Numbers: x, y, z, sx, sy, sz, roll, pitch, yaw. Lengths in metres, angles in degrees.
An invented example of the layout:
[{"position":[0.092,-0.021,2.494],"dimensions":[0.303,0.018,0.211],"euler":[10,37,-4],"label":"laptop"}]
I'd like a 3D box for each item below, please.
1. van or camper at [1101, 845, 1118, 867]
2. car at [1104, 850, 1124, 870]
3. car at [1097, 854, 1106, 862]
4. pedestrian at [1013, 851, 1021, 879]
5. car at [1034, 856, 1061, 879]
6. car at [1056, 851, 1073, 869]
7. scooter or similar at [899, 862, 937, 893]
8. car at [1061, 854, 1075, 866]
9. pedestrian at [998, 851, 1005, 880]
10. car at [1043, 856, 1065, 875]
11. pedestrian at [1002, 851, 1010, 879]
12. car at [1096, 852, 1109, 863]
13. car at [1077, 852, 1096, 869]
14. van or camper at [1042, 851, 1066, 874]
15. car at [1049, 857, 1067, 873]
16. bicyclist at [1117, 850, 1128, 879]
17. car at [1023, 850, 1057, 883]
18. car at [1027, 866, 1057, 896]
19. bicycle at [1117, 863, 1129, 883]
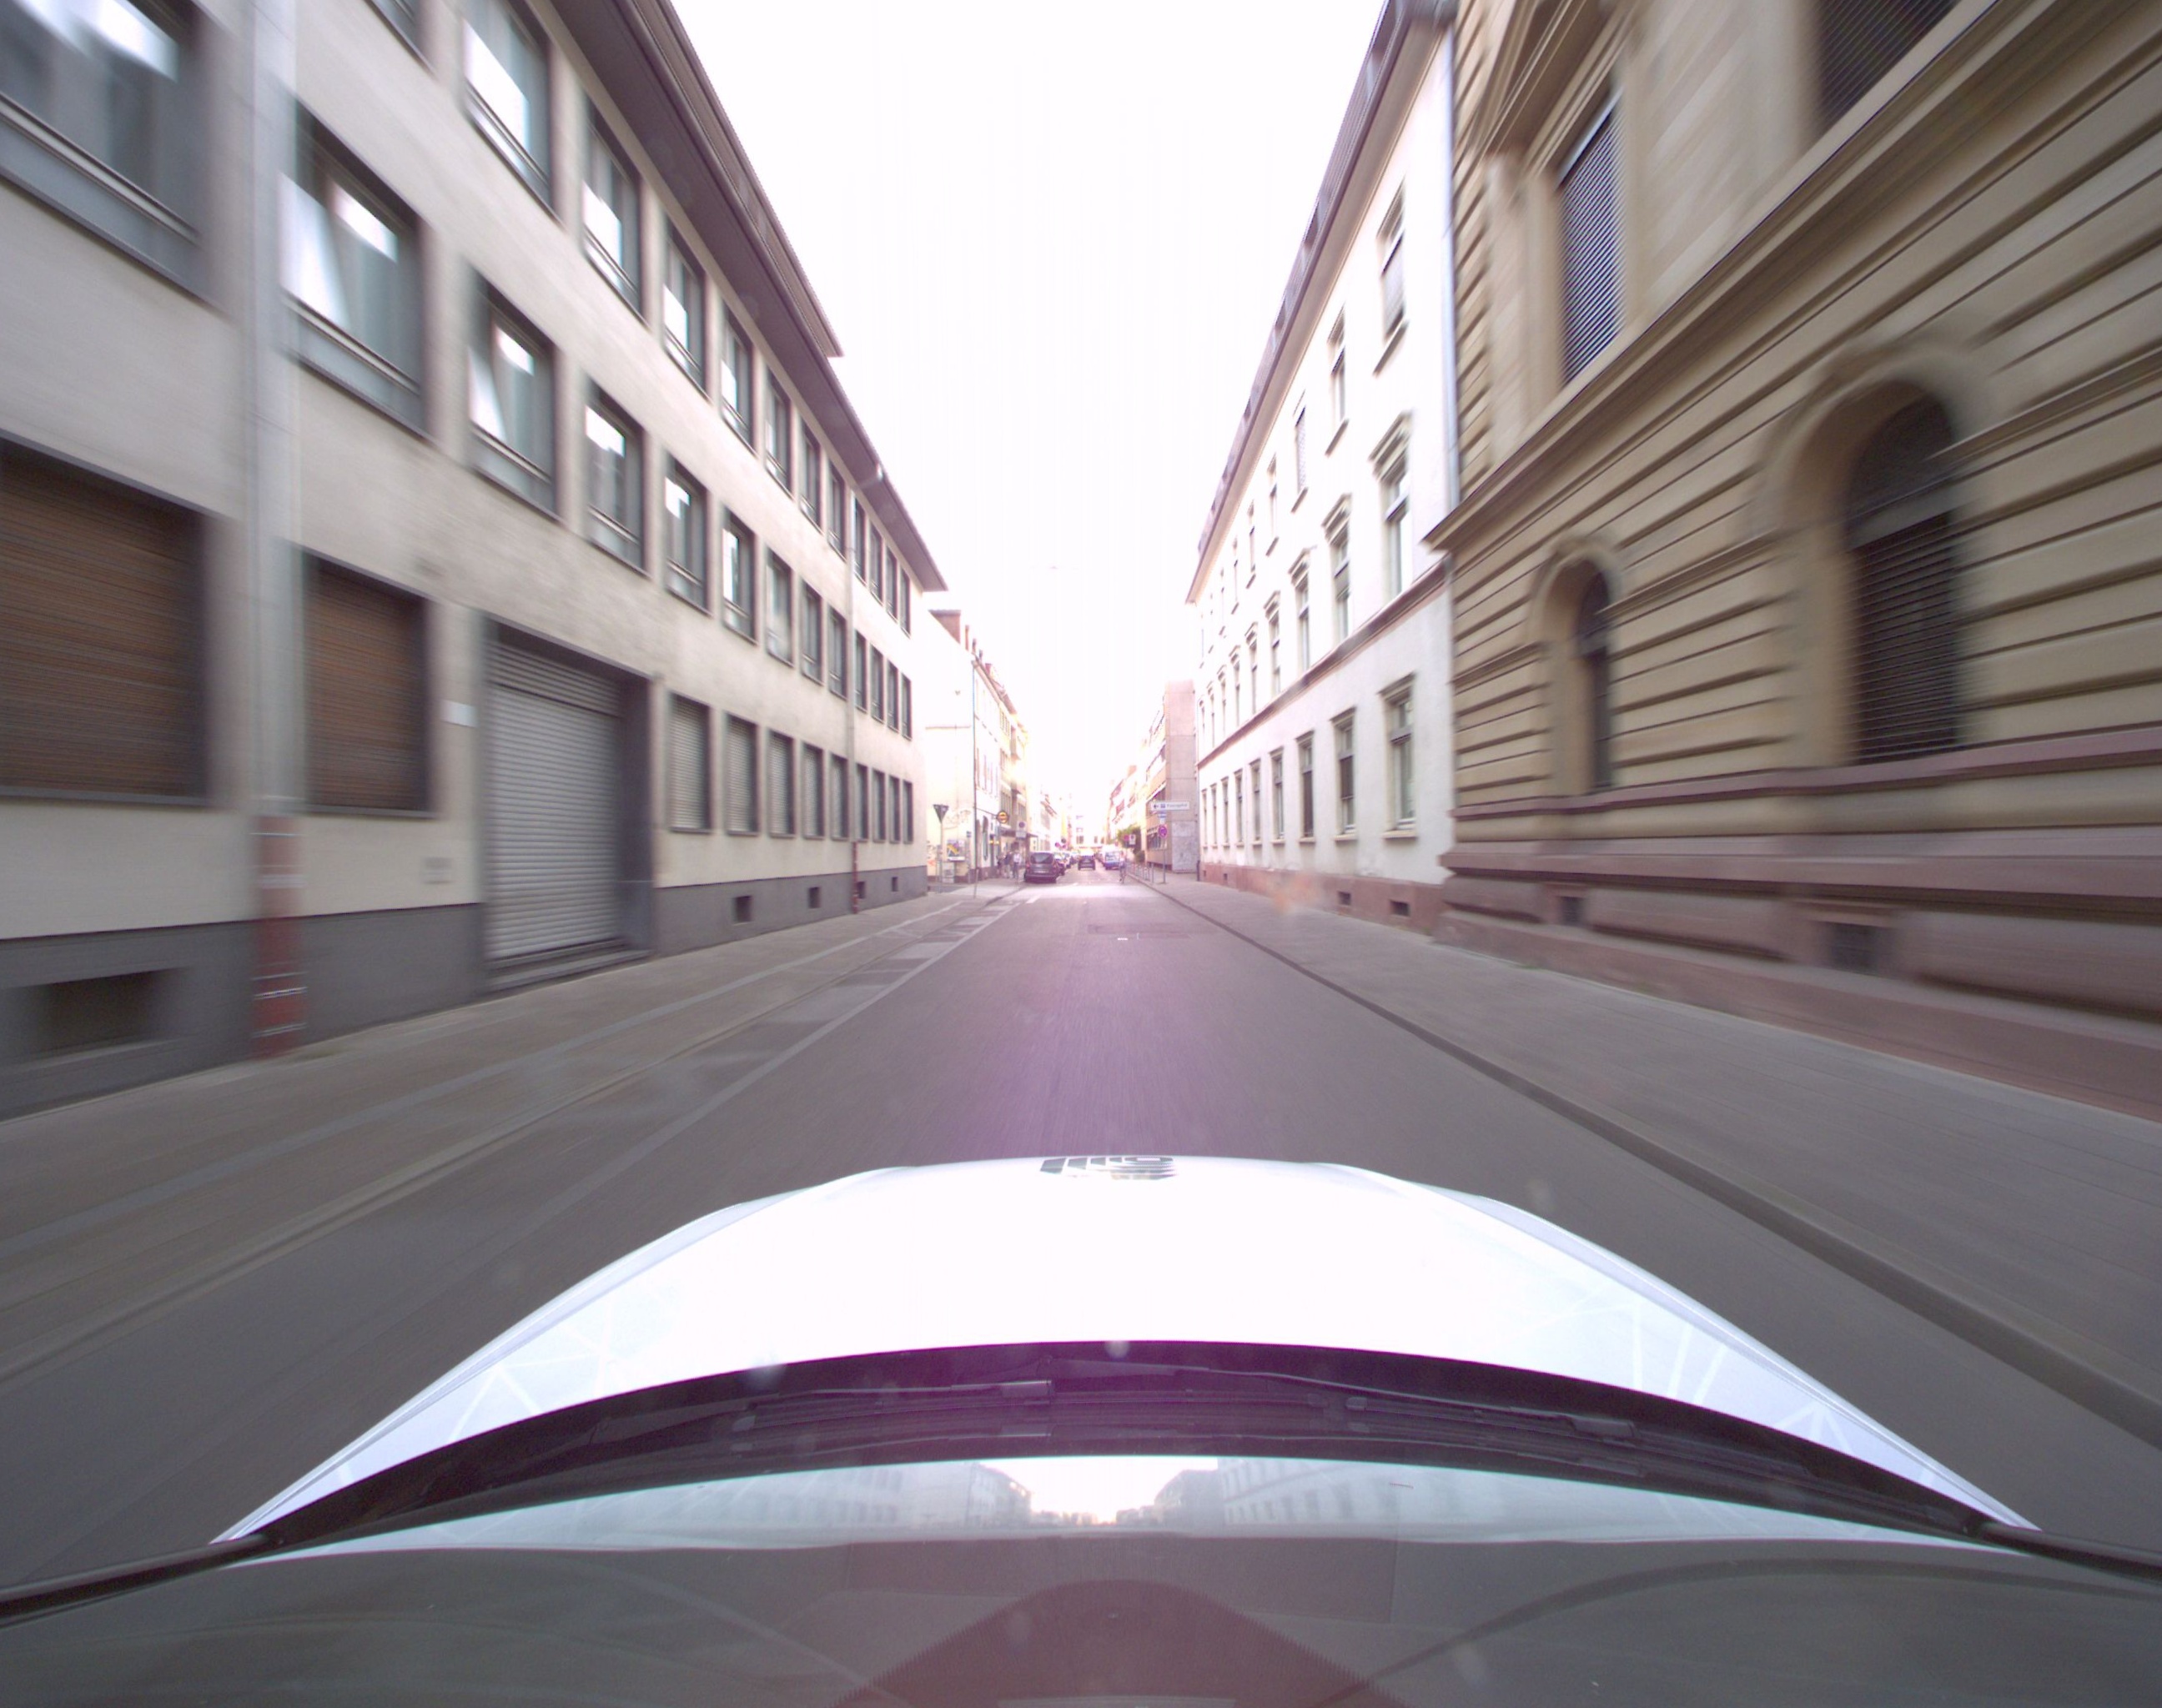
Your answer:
[{"position":[3.508,0.257,101.359],"dimensions":[2.042,2.637,7.065],"euler":[-1,0,2],"label":"van or camper"},{"position":[3.270,0.565,81.417],"dimensions":[1.929,1.898,5.277],"euler":[-1,0,1],"label":"car"},{"position":[3.721,0.744,151.394],"dimensions":[1.647,1.561,3.606],"euler":[0,0,1],"label":"car"},{"position":[-4.038,0.705,51.147],"dimensions":[0.447,1.750,0.470],"euler":[-1,-1,2],"label":"pedestrian"},{"position":[-2.351,0.927,57.579],"dimensions":[1.618,1.485,3.878],"euler":[-1,0,1],"label":"car"},{"position":[-1.807,0.683,92.713],"dimensions":[1.857,2.013,5.104],"euler":[-1,0,-1],"label":"car"},{"position":[-6.536,0.943,32.708],"dimensions":[1.367,1.201,0.528],"euler":[2,-2,-24],"label":"scooter or similar"},{"position":[-1.846,0.867,116.968],"dimensions":[1.796,1.676,4.492],"euler":[-1,0,2],"label":"car"},{"position":[-4.917,0.710,50.356],"dimensions":[0.404,1.750,0.470],"euler":[-1,-1,2],"label":"pedestrian"},{"position":[-2.067,0.875,62.550],"dimensions":[1.619,1.416,3.979],"euler":[0,0,-1],"label":"car"},{"position":[-4.760,0.687,51.664],"dimensions":[0.404,1.750,0.470],"euler":[-1,-1,2],"label":"pedestrian"},{"position":[3.253,0.533,121.037],"dimensions":[1.812,1.530,5.073],"euler":[-4,0,2],"label":"car"},{"position":[0.555,0.638,80.922],"dimensions":[1.813,1.618,4.000],"euler":[0,0,0],"label":"car"},{"position":[-2.301,0.710,70.603],"dimensions":[1.766,1.848,4.179],"euler":[-1,0,1],"label":"van or camper"},{"position":[-2.223,1.045,79.924],"dimensions":[1.656,1.449,3.520],"euler":[2,0,0],"label":"car"},{"position":[2.314,0.578,45.343],"dimensions":[0.618,1.574,0.684],"euler":[-1,-1,1],"label":"bicyclist"},{"position":[-2.374,0.720,47.666],"dimensions":[1.872,1.811,4.446],"euler":[0,0,-2],"label":"car"},{"position":[-2.511,1.689,52.780],"dimensions":[1.767,1.811,4.509],"euler":[0,0,-1],"label":"car"},{"position":[2.309,1.045,45.333],"dimensions":[0.611,1.082,1.810],"euler":[-1,0,2],"label":"bicycle"}]
